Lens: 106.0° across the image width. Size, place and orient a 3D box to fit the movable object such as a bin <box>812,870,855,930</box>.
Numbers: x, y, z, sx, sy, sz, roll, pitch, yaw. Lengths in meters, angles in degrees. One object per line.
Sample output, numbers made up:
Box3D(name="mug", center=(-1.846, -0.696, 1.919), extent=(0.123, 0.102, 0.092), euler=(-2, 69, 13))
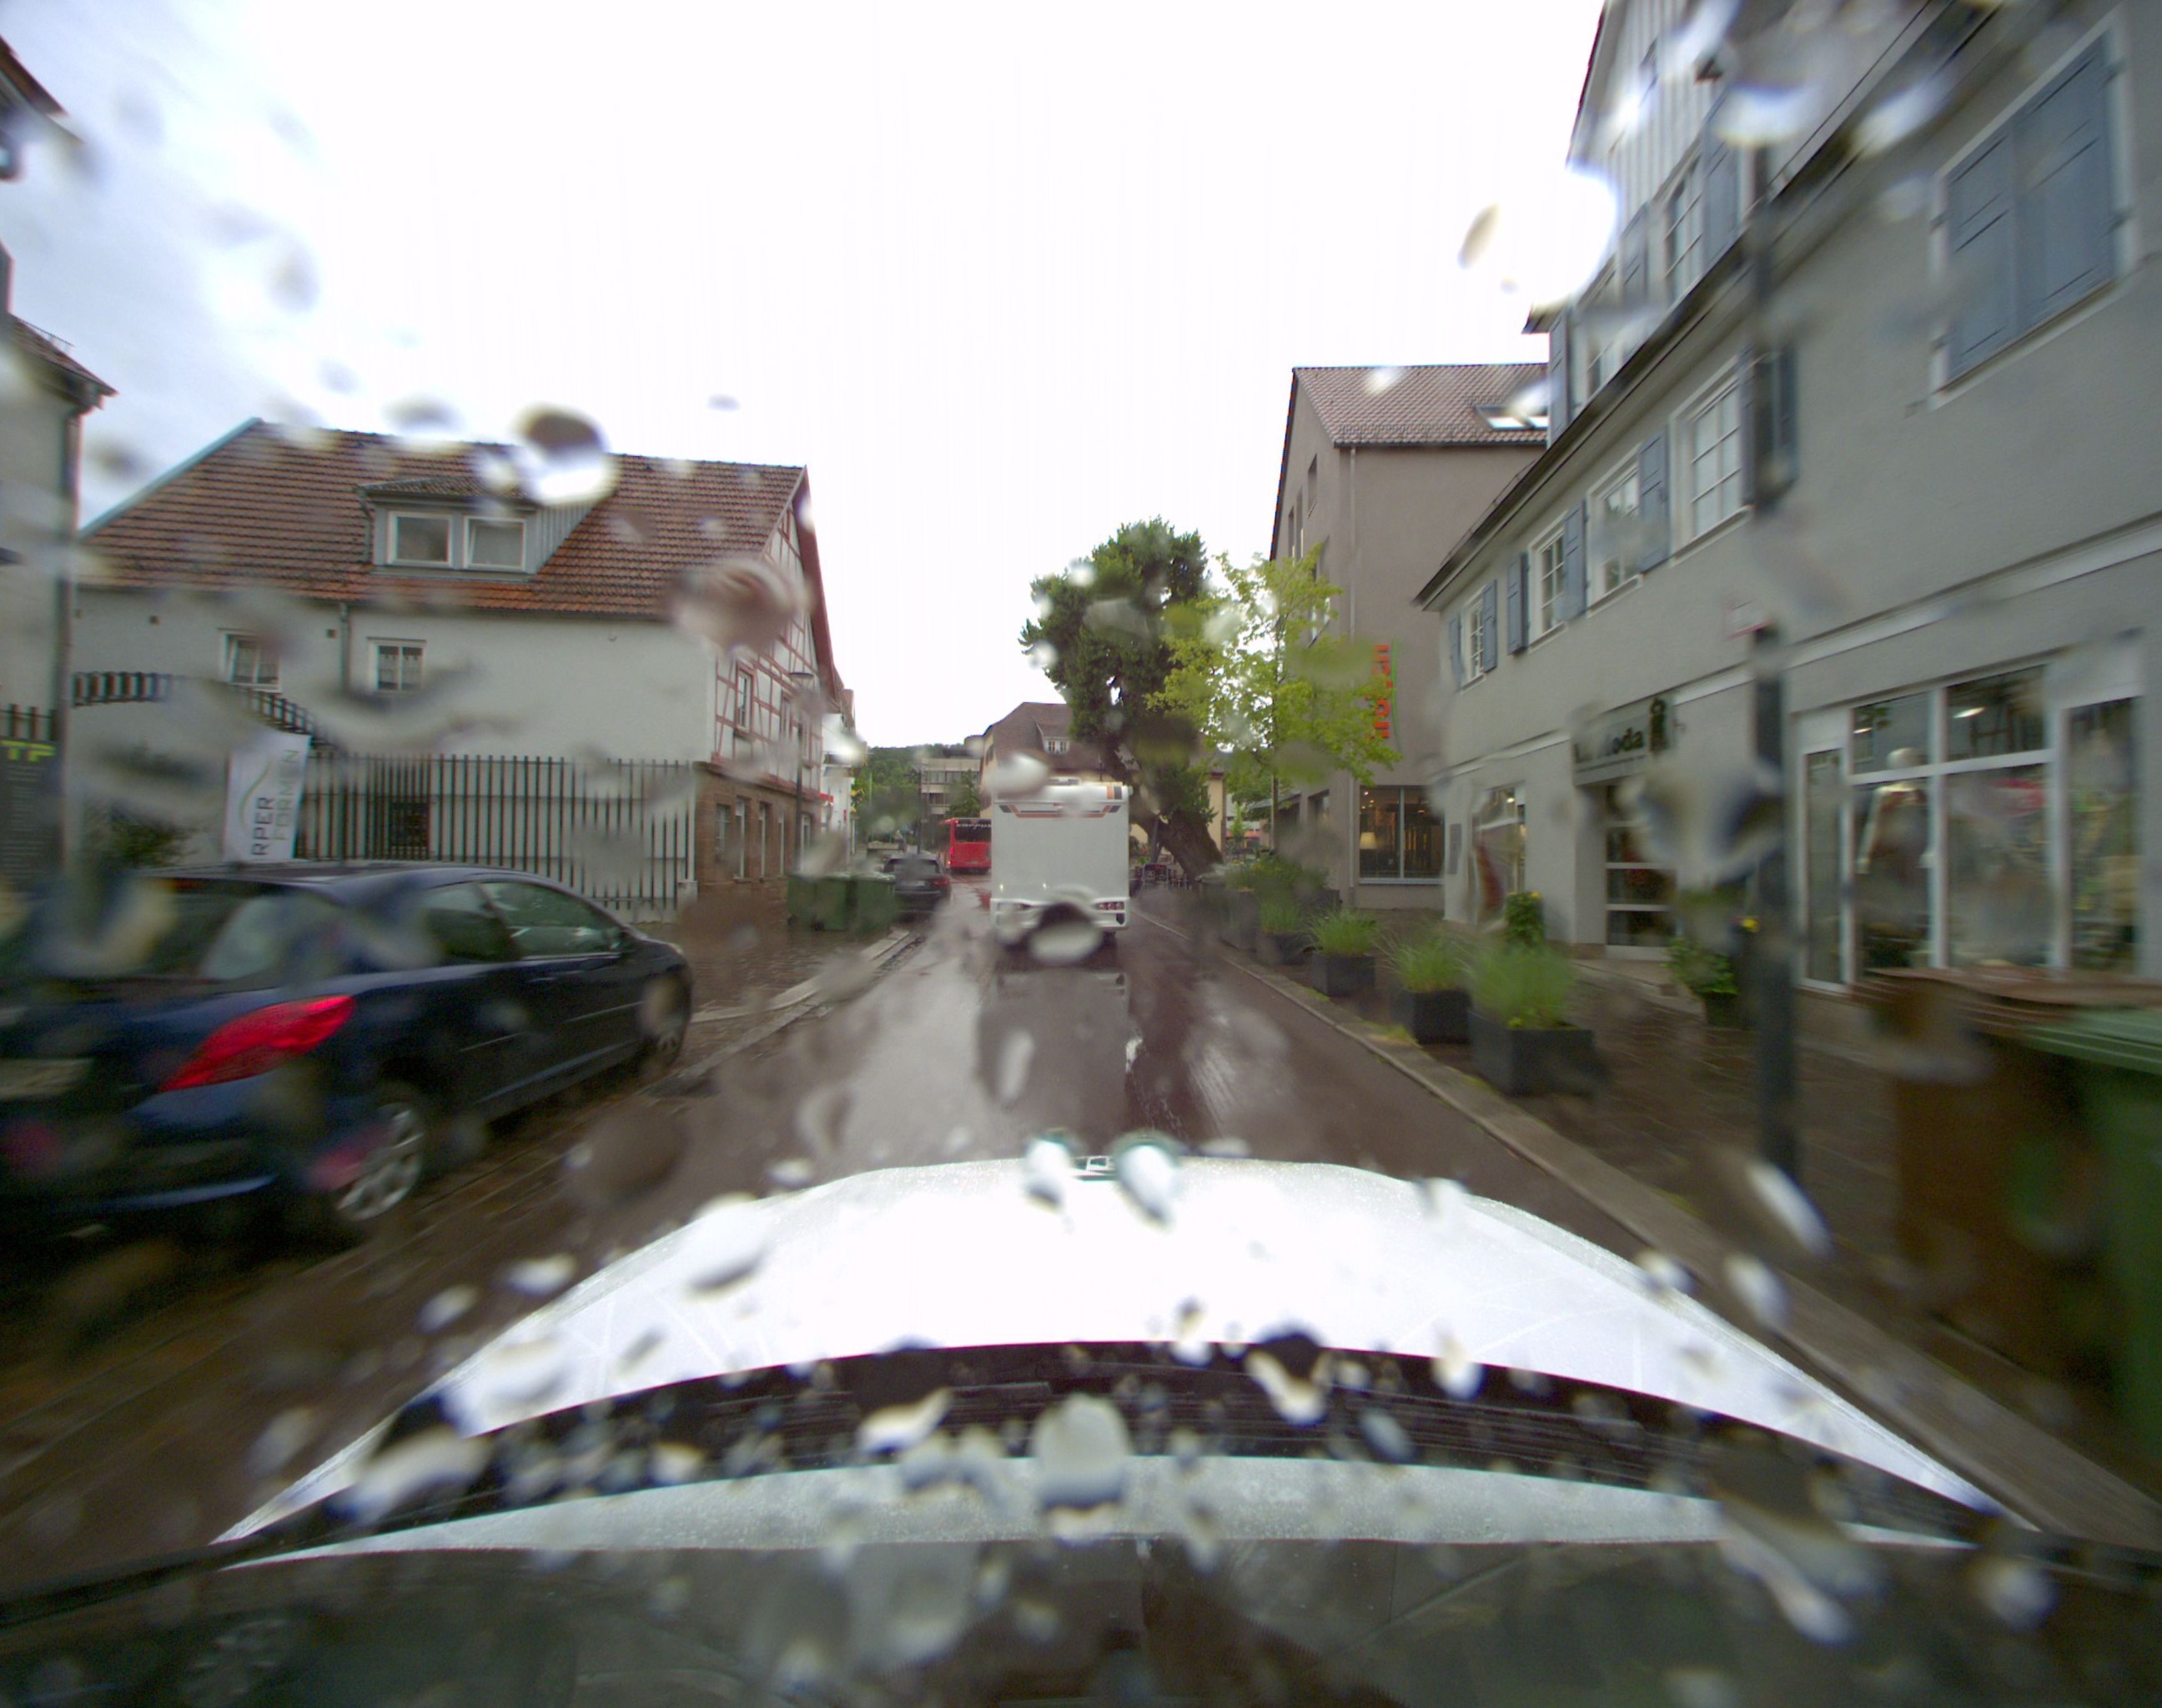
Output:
Box3D(name="movable object such as a bin", center=(-4.643, 0.850, 15.305), extent=(0.629, 1.052, 0.732), euler=(0, 3, -6))

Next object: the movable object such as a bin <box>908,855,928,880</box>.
Box3D(name="movable object such as a bin", center=(-7.003, 0.575, 34.967), extent=(0.819, 1.051, 0.696), euler=(0, -1, -13))

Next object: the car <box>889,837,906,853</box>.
Box3D(name="car", center=(-24.931, -1.202, 110.455), extent=(1.998, 2.014, 3.978), euler=(0, -1, -16))

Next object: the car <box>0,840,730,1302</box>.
Box3D(name="car", center=(-3.767, 0.689, 4.581), extent=(1.989, 1.472, 3.996), euler=(1, 0, -3))

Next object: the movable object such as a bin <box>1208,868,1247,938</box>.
Box3D(name="movable object such as a bin", center=(2.481, 0.821, 13.841), extent=(0.542, 1.156, 0.576), euler=(0, -1, -1))

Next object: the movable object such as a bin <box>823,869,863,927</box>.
Box3D(name="movable object such as a bin", center=(-4.702, 0.858, 16.102), extent=(0.629, 1.123, 0.732), euler=(0, -1, -6))

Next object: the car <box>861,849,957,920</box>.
Box3D(name="car", center=(-4.112, 0.663, 19.645), extent=(1.995, 1.494, 3.984), euler=(1, 0, -11))

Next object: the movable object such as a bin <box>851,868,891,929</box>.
Box3D(name="movable object such as a bin", center=(-3.940, 0.830, 15.321), extent=(0.629, 1.113, 0.732), euler=(0, -1, -6))

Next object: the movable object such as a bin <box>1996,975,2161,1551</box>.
Box3D(name="movable object such as a bin", center=(2.768, 0.942, 1.866), extent=(0.675, 1.250, 0.565), euler=(0, -1, 1))

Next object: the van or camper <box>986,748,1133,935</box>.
Box3D(name="van or camper", center=(-0.569, -0.140, 16.035), extent=(2.322, 2.919, 6.382), euler=(0, -1, -4))

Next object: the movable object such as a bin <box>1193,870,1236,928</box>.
Box3D(name="movable object such as a bin", center=(2.567, 0.858, 15.660), extent=(0.726, 1.080, 0.576), euler=(0, -1, -1))

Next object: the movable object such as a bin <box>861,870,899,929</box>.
Box3D(name="movable object such as a bin", center=(-3.965, 0.887, 16.093), extent=(0.629, 1.123, 0.732), euler=(0, -1, -6))

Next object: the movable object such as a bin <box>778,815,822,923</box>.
Box3D(name="movable object such as a bin", center=(-5.383, 0.288, 15.610), extent=(0.629, 2.014, 0.745), euler=(0, -1, -6))

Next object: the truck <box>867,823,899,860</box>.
Box3D(name="truck", center=(-16.169, -0.957, 66.342), extent=(2.285, 2.758, 5.537), euler=(0, -1, -17))

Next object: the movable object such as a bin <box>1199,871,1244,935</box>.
Box3D(name="movable object such as a bin", center=(2.479, 0.860, 14.429), extent=(0.690, 1.102, 0.561), euler=(0, -1, -1))

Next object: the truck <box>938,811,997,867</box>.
Box3D(name="truck", center=(-6.574, -0.758, 46.474), extent=(2.467, 2.939, 6.162), euler=(0, -1, -17))

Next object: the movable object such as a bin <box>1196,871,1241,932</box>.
Box3D(name="movable object such as a bin", center=(2.545, 0.872, 15.096), extent=(0.726, 1.102, 0.561), euler=(0, -1, -1))

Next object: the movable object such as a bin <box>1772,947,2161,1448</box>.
Box3D(name="movable object such as a bin", center=(2.792, 0.947, 2.520), extent=(0.675, 1.241, 0.732), euler=(0, -1, 2))
